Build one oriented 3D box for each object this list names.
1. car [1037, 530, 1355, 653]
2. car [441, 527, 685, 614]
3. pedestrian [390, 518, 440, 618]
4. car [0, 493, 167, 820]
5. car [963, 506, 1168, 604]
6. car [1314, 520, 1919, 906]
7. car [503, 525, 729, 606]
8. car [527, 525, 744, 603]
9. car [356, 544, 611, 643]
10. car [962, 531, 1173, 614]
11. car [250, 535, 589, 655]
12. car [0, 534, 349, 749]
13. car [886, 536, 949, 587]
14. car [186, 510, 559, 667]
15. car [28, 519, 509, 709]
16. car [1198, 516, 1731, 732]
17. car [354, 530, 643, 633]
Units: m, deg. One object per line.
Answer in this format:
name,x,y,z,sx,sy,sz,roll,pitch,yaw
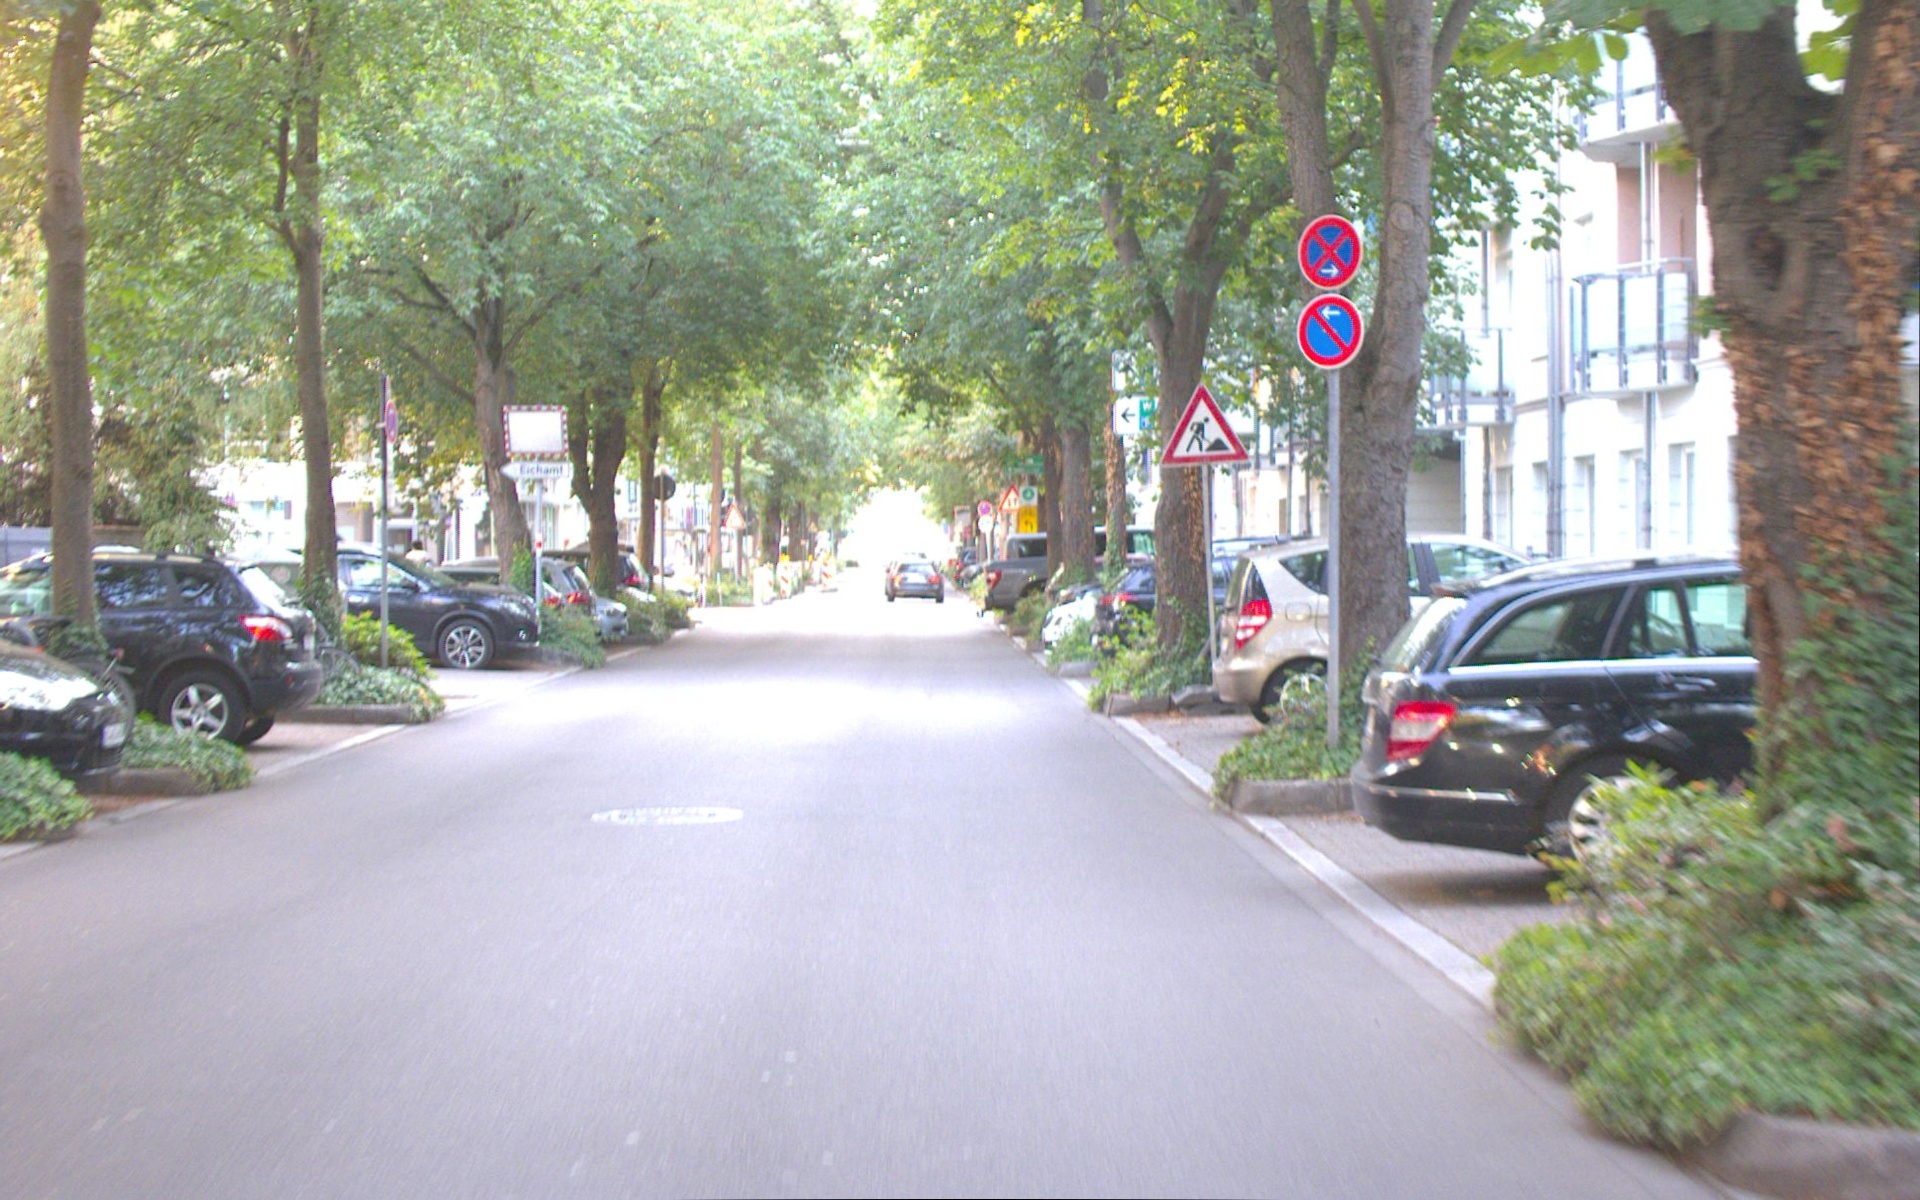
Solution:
car,3.265,-0.128,48.199,4.268,1.560,1.963,-2,1,-1
car,-8.147,-0.612,70.818,4.762,1.624,1.963,-2,1,-1
pedestrian,-11.134,-0.657,70.211,0.857,2.007,0.876,-1,1,0
car,-7.328,0.368,20.547,4.682,1.847,1.963,-2,1,-1
car,2.237,-0.969,73.996,4.268,1.955,1.963,-2,1,-1
car,3.890,0.419,15.073,4.508,1.516,1.995,-2,1,3
car,-7.550,-0.764,75.864,4.762,1.624,1.963,-2,1,-1
car,-7.407,-0.840,78.743,4.762,1.624,1.963,-2,1,-1
car,-7.965,-0.118,57.715,3.987,1.505,1.800,-2,1,-1
car,2.207,-0.583,71.486,4.268,1.560,1.963,-2,1,-1
car,-8.080,-0.093,51.734,4.762,1.624,1.963,-2,1,-1
car,-7.319,0.338,28.273,4.203,1.630,1.963,-2,1,-1
car,-1.362,-1.253,110.496,1.956,1.560,4.283,-2,1,-1
car,-8.052,-0.169,47.412,4.762,1.977,1.963,-2,1,-1
car,-7.166,0.124,35.966,4.595,1.801,1.963,-2,1,-1
car,4.067,0.172,28.184,4.050,1.592,1.825,-2,1,-1
car,-8.031,-0.334,60.189,4.762,1.624,1.963,-2,1,-1
